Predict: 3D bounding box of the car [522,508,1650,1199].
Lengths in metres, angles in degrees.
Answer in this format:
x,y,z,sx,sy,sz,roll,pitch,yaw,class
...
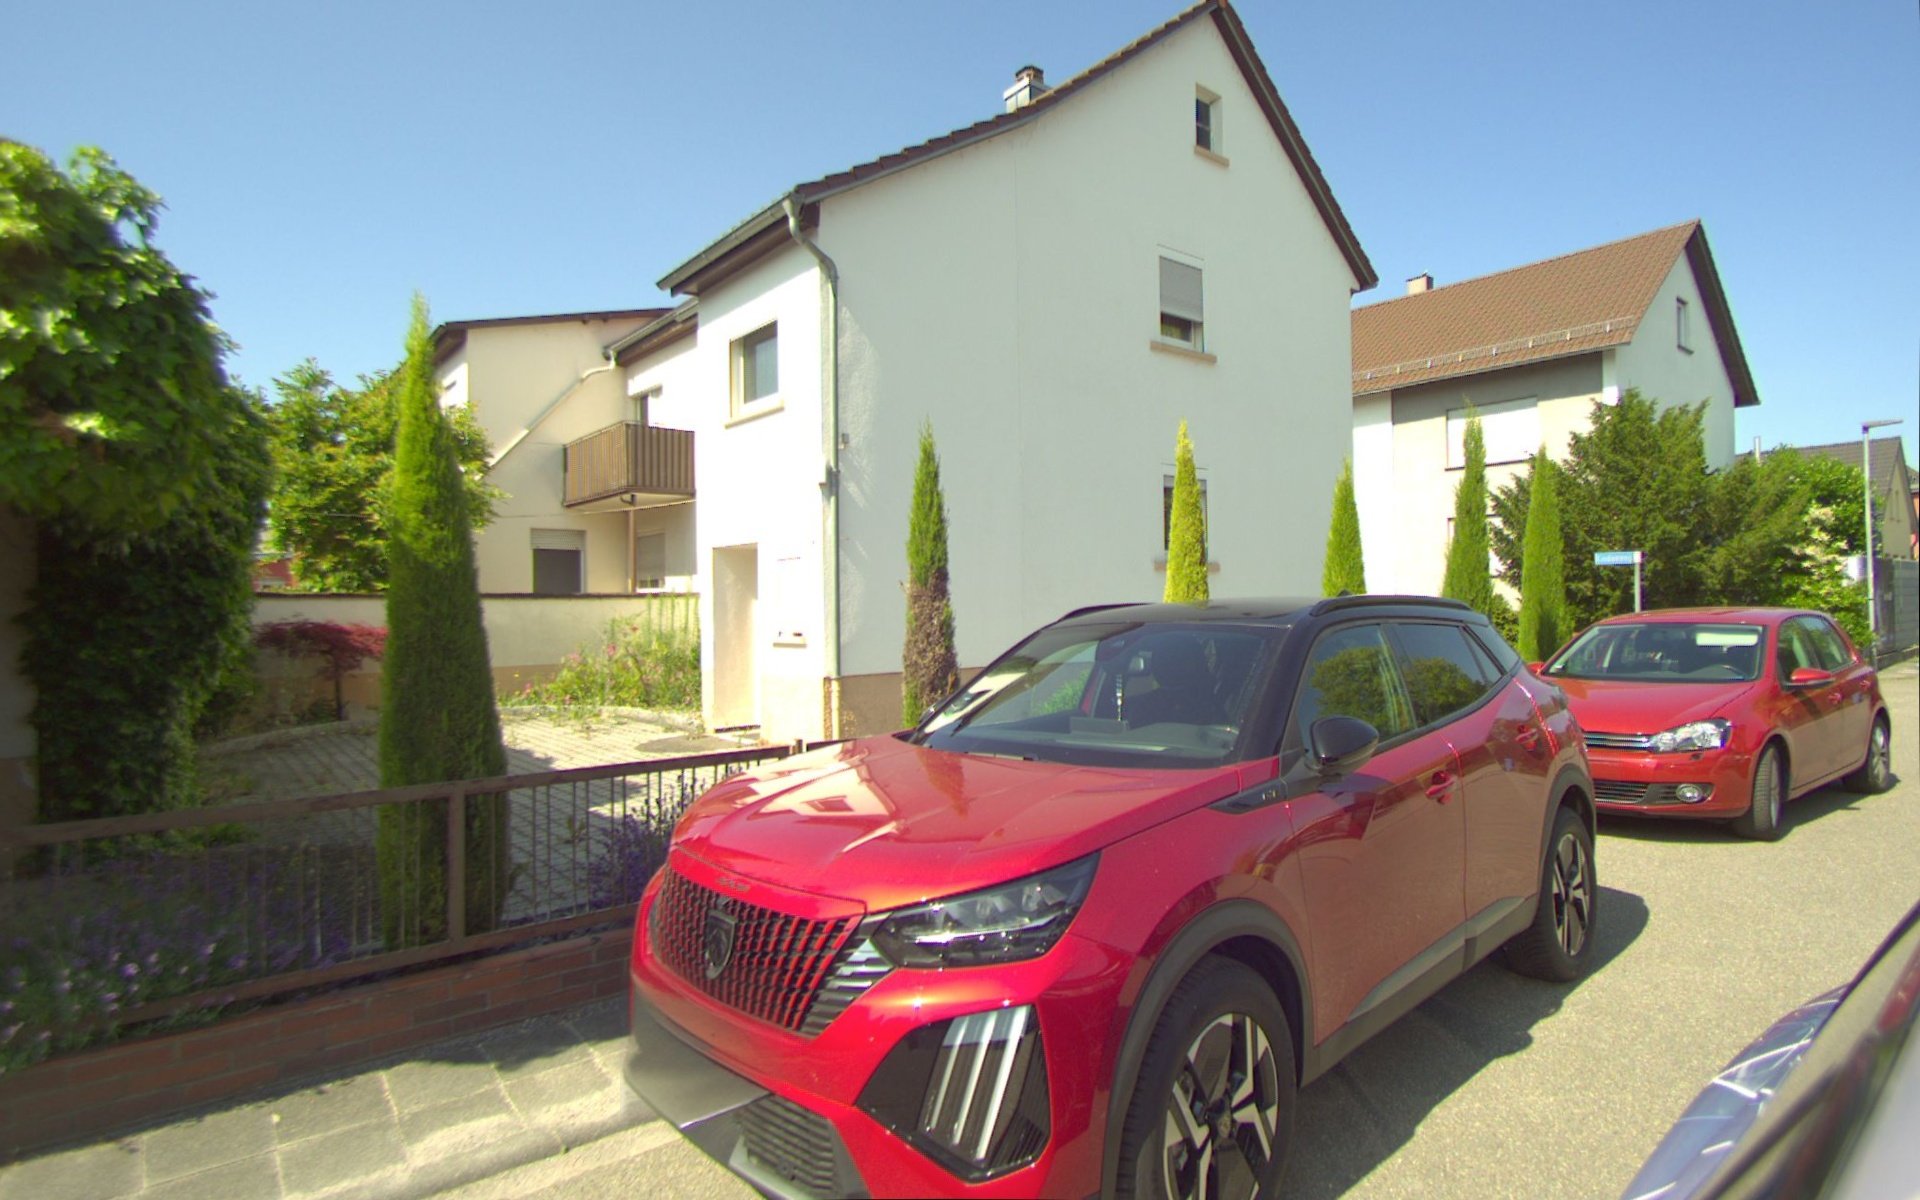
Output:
x,y,z,sx,sy,sz,roll,pitch,yaw,class
0.788,0.678,3.595,3.931,1.636,1.824,-1,-1,-42,car

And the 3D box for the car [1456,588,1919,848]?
x,y,z,sx,sy,sz,roll,pitch,yaw,class
5.771,0.715,7.837,3.925,1.498,1.780,-1,-2,-36,car
